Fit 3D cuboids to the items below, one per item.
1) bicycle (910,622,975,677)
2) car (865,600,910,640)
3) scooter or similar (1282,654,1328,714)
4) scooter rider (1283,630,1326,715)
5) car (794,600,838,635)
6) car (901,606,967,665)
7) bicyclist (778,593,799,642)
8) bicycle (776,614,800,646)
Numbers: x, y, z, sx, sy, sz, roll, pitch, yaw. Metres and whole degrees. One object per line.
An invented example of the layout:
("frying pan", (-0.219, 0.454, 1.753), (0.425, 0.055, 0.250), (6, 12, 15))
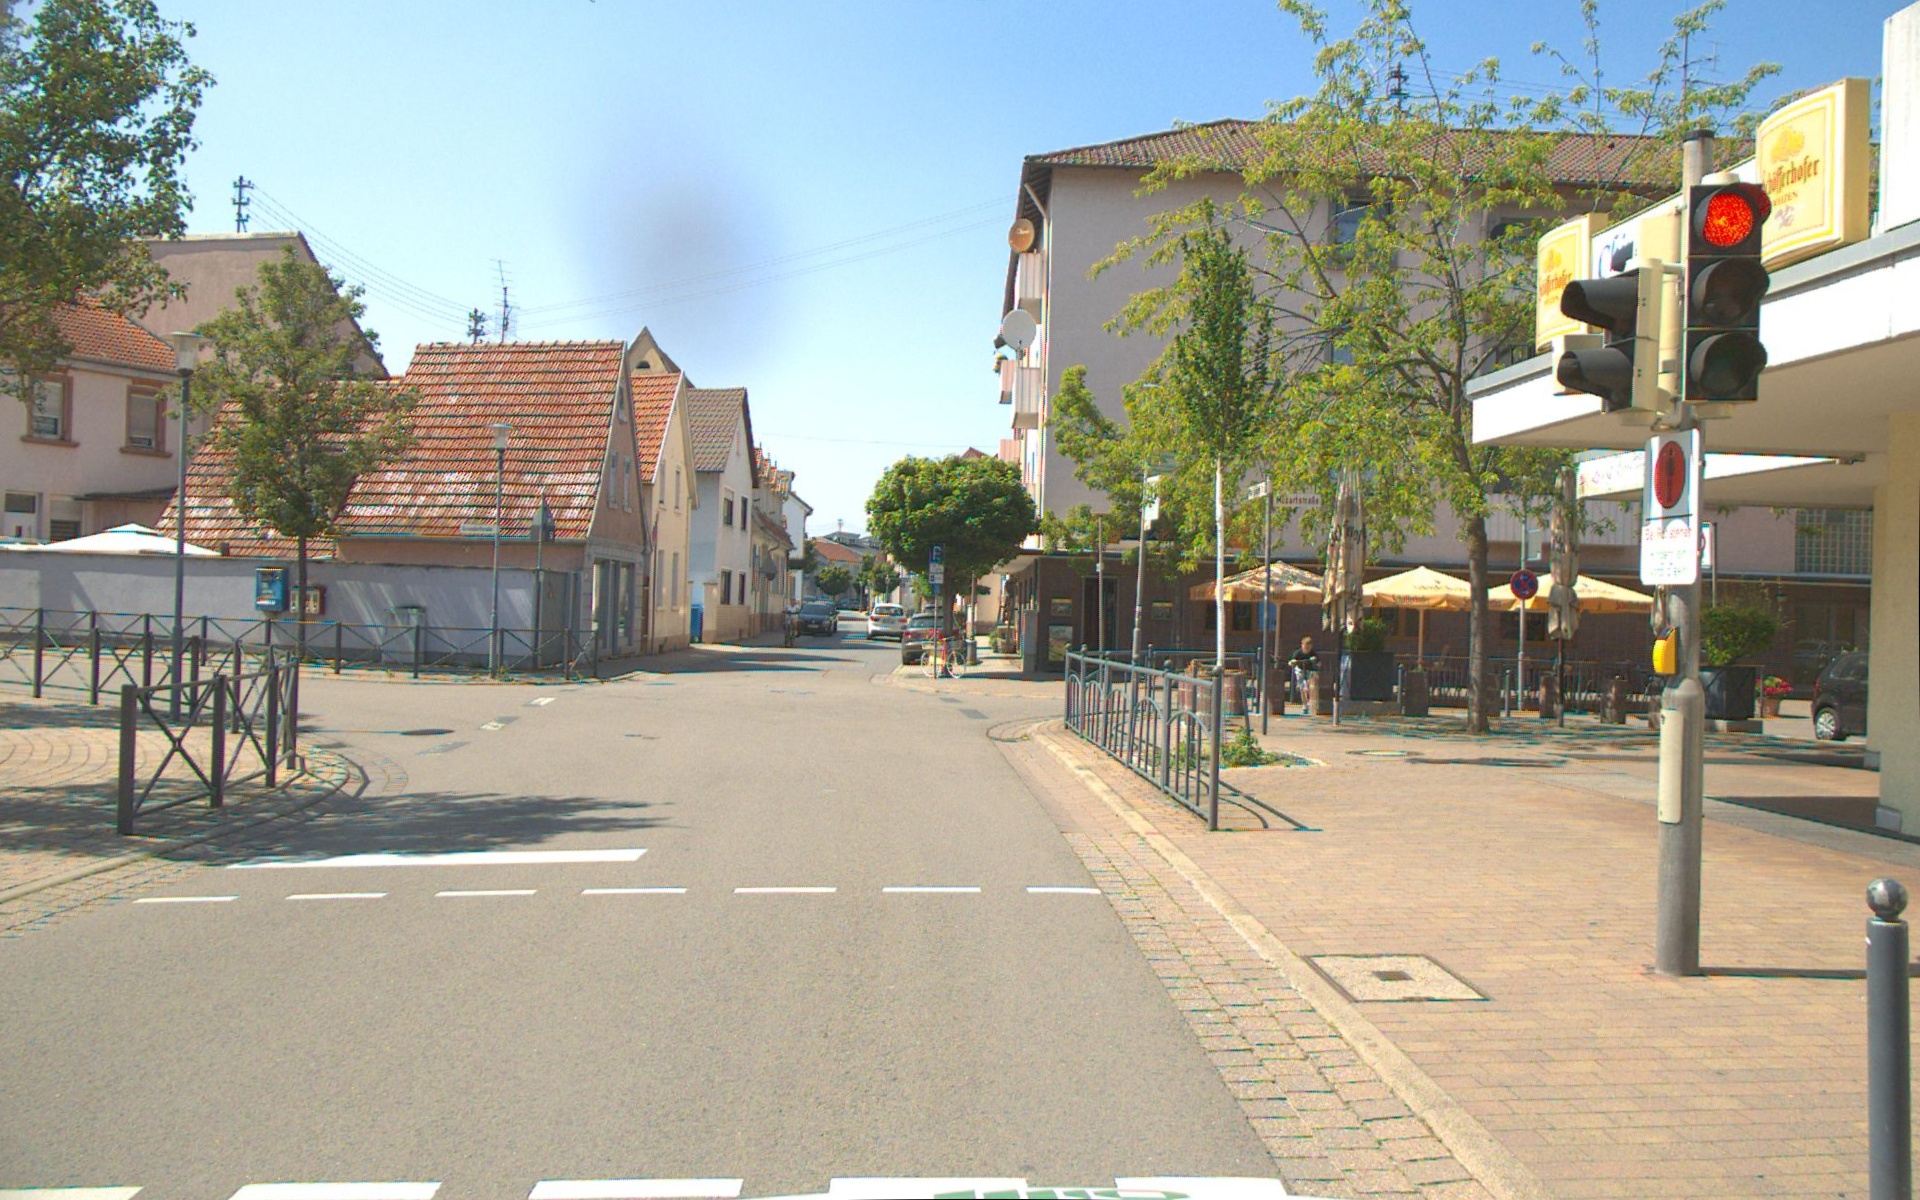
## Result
("bicycle", (-0.417, 1.152, 38.603), (0.523, 1.214, 1.648), (2, -1, -44))
("car", (-3.195, 0.857, 73.499), (1.796, 1.681, 3.999), (2, 0, -1))
("scooter or similar", (5.364, 1.299, 25.762), (0.372, 0.889, 0.888), (1, -1, -11))
("scooter rider", (5.370, 1.129, 25.795), (0.507, 1.308, 0.417), (2, -1, -11))
("car", (-6.790, 0.822, 78.089), (1.679, 1.543, 3.786), (2, 0, 0))
("car", (-0.711, 0.980, 47.373), (1.768, 1.528, 4.000), (2, 0, 0))
("bicyclist", (-6.056, 0.614, 58.459), (0.655, 1.720, 0.761), (1, -1, -1))
("bicycle", (-6.070, 1.043, 58.491), (0.660, 1.113, 1.895), (0, 0, -1))
